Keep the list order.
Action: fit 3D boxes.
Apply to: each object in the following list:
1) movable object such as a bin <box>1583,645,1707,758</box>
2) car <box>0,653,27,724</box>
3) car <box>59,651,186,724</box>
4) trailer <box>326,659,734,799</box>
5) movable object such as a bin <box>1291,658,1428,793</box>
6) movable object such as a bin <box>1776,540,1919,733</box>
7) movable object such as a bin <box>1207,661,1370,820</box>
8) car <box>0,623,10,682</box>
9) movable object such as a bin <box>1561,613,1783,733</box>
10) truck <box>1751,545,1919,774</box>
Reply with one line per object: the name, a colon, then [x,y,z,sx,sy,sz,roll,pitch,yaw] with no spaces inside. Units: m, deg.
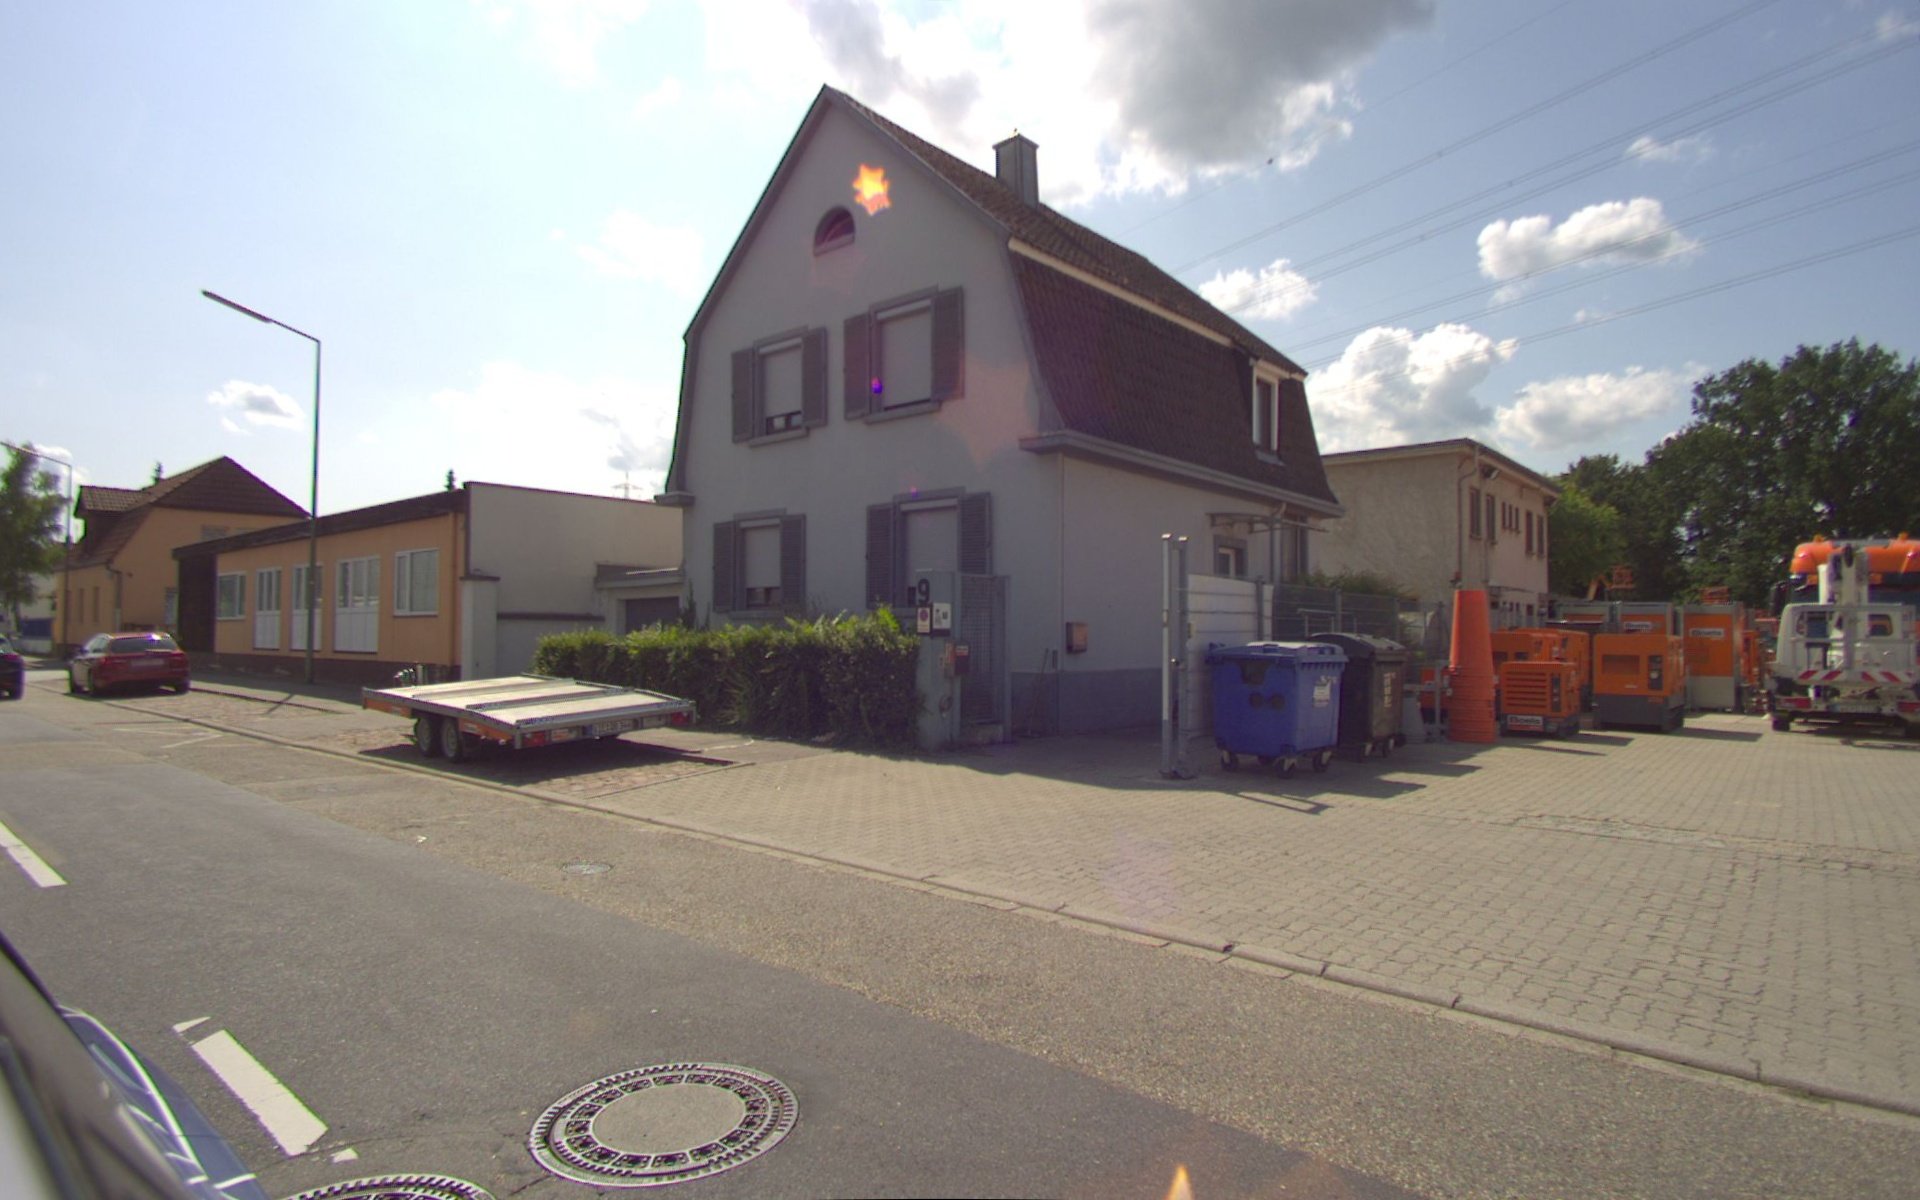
movable object such as a bin: [12.036,1.677,17.688,1.464,1.741,3.948,-2,-4,38]
car: [-22.004,1.903,22.203,3.997,1.453,1.717,-2,-4,40]
car: [-20.250,2.041,24.396,4.628,1.478,1.692,-2,-1,42]
trailer: [-5.612,1.411,12.659,6.052,1.173,2.424,-2,-2,42]
movable object such as a bin: [4.657,1.396,11.772,1.150,1.438,1.303,-2,-4,38]
movable object such as a bin: [19.485,0.806,21.713,2.914,3.764,3.948,-2,-4,38]
movable object such as a bin: [3.316,1.346,10.194,1.187,1.438,1.303,-2,-4,38]
car: [-44.101,2.354,45.053,5.821,2.561,2.052,-2,-1,41]
movable object such as a bin: [17.139,1.693,24.404,4.042,2.556,3.948,-2,-4,38]
truck: [14.579,0.946,16.438,2.493,3.168,5.506,-2,-4,37]
